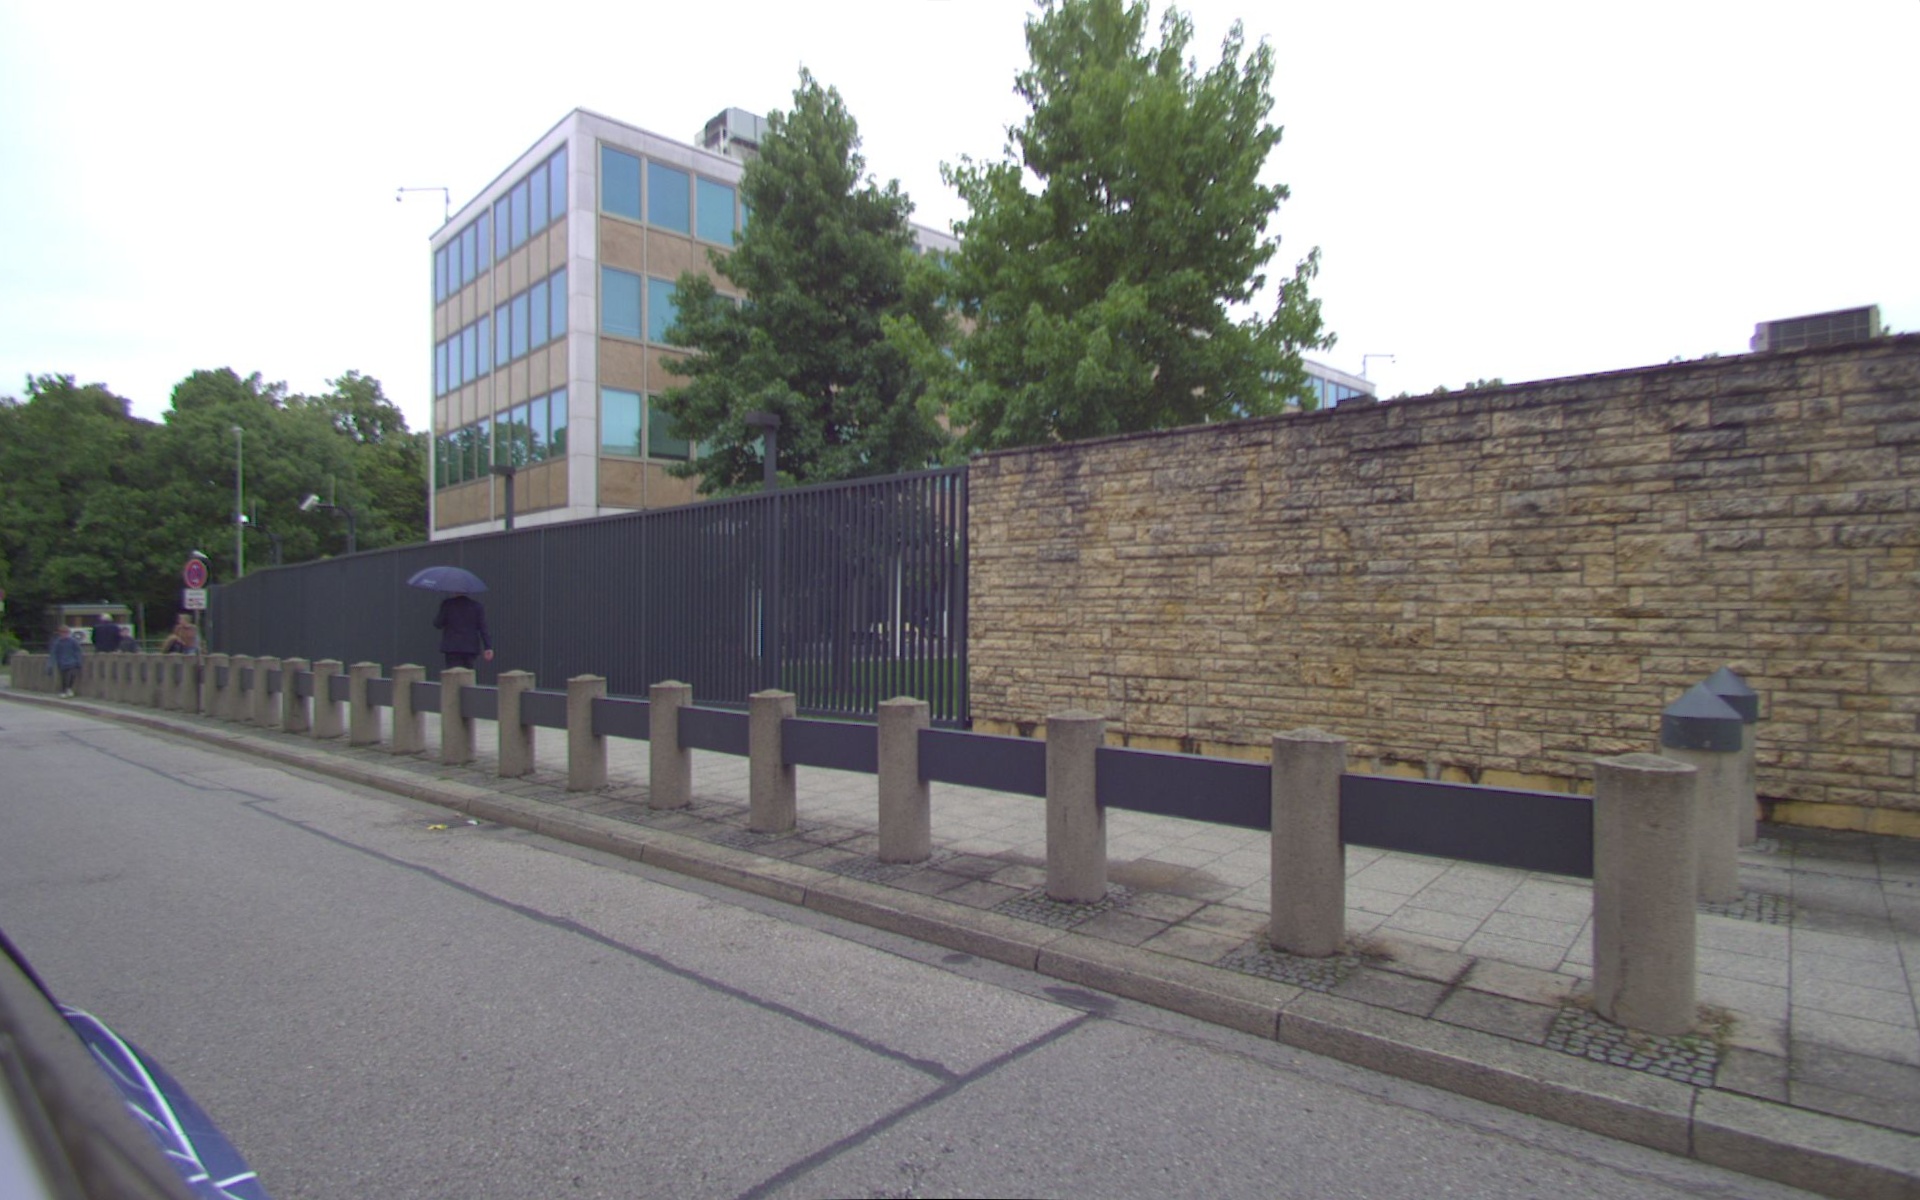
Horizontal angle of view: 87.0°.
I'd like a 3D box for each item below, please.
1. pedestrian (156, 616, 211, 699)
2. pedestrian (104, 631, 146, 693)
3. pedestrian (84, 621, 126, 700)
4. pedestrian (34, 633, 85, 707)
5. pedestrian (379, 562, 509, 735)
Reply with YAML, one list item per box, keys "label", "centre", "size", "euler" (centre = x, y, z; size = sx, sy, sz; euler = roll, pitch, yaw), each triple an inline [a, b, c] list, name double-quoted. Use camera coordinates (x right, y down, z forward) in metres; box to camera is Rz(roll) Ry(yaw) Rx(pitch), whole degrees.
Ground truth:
- label: "pedestrian"
  centre: [-16.990, 1.235, 22.150]
  size: [0.814, 1.736, 0.906]
  euler: [-2, 0, -44]
- label: "pedestrian"
  centre: [-21.854, 1.597, 26.489]
  size: [0.768, 1.551, 0.934]
  euler: [-2, 0, -42]
- label: "pedestrian"
  centre: [-19.789, 1.383, 23.417]
  size: [0.766, 1.782, 0.617]
  euler: [-2, -2, 40]
- label: "pedestrian"
  centre: [-18.774, 1.444, 21.102]
  size: [1.078, 1.478, 0.632]
  euler: [-2, 0, 41]
- label: "pedestrian"
  centre: [-6.722, 0.610, 13.188]
  size: [1.116, 2.120, 1.210]
  euler: [-2, -2, 42]
